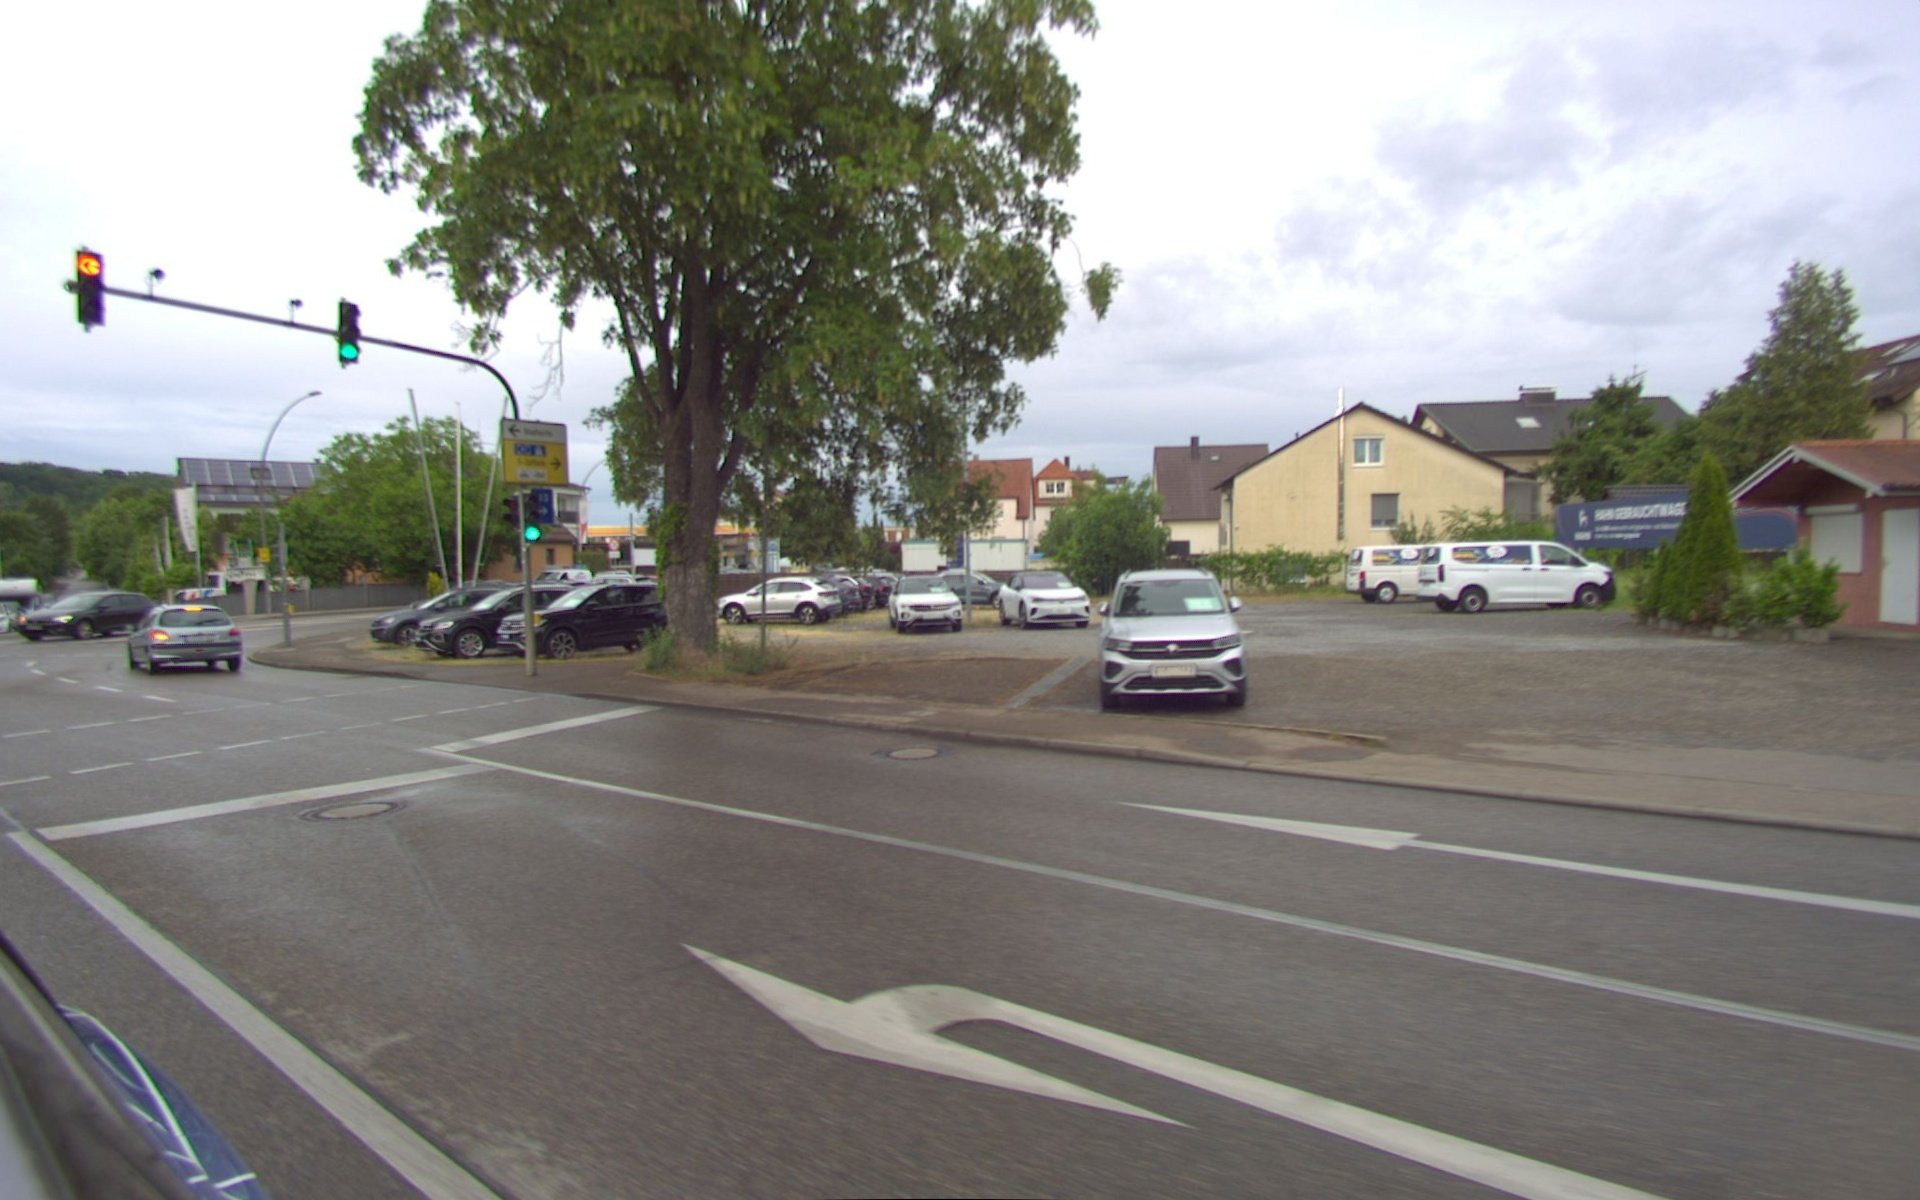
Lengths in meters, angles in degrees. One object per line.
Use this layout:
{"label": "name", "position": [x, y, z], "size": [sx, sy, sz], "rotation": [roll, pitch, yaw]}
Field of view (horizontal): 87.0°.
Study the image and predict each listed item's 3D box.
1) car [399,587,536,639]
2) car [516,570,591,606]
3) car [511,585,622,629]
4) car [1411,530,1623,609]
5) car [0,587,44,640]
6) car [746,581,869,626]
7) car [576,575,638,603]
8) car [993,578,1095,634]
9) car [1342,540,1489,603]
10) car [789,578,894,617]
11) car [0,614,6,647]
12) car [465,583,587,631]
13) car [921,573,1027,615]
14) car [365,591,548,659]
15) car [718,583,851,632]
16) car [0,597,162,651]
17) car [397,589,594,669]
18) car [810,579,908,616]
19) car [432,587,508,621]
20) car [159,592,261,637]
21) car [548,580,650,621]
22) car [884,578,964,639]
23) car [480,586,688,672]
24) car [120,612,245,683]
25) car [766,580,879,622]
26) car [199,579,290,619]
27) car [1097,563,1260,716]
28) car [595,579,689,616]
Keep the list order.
{"label": "car", "position": [-16.305, 0.414, 33.617], "size": [3.720, 1.562, 1.594], "rotation": [-2, 1, -2]}
{"label": "car", "position": [-25.996, -0.771, 64.944], "size": [2.030, 2.102, 5.241], "rotation": [-2, 0, 9]}
{"label": "car", "position": [-15.459, 0.252, 39.848], "size": [3.722, 1.562, 1.593], "rotation": [-2, 1, 0]}
{"label": "car", "position": [15.628, -0.855, 28.640], "size": [4.812, 2.002, 1.958], "rotation": [-2, 1, 6]}
{"label": "car", "position": [-55.337, 0.725, 59.191], "size": [2.537, 2.794, 6.136], "rotation": [-1, 3, -42]}
{"label": "car", "position": [-5.462, 0.120, 36.405], "size": [3.997, 1.462, 1.786], "rotation": [-2, 1, 9]}
{"label": "car", "position": [-24.898, -0.761, 71.636], "size": [2.030, 1.877, 4.908], "rotation": [-2, 0, 9]}
{"label": "car", "position": [2.300, 0.123, 28.896], "size": [1.800, 1.425, 4.019], "rotation": [-2, 1, -12]}
{"label": "car", "position": [15.685, -0.963, 35.027], "size": [4.219, 2.002, 1.722], "rotation": [-2, 1, 5]}
{"label": "car", "position": [-4.874, -0.104, 41.953], "size": [3.997, 1.462, 1.786], "rotation": [-2, 1, 9]}
{"label": "car", "position": [-44.596, 1.401, 45.910], "size": [4.002, 1.479, 1.745], "rotation": [-1, 1, 45]}
{"label": "car", "position": [-15.735, 0.236, 36.789], "size": [3.722, 1.562, 1.593], "rotation": [-2, 1, 0]}
{"label": "car", "position": [0.583, -0.253, 40.915], "size": [4.003, 1.566, 1.783], "rotation": [-2, 1, 13]}
{"label": "car", "position": [-13.257, 0.600, 26.729], "size": [4.091, 1.521, 1.677], "rotation": [-3, 2, -34]}
{"label": "car", "position": [-5.826, 0.246, 33.759], "size": [3.997, 1.462, 1.786], "rotation": [-2, 1, 9]}
{"label": "car", "position": [-28.038, 0.710, 32.456], "size": [1.745, 1.438, 4.001], "rotation": [-1, 2, -1]}
{"label": "car", "position": [-10.559, 0.605, 23.159], "size": [3.714, 1.579, 1.674], "rotation": [-3, 1, -44]}
{"label": "car", "position": [-4.429, -0.119, 44.750], "size": [3.997, 1.462, 1.786], "rotation": [-2, 1, 9]}
{"label": "car", "position": [-23.374, 0.152, 48.422], "size": [1.746, 1.438, 4.001], "rotation": [1, 2, 0]}
{"label": "car", "position": [-38.440, 0.712, 51.901], "size": [4.337, 2.120, 1.765], "rotation": [1, 2, 11]}
{"label": "car", "position": [-15.228, 0.011, 42.847], "size": [3.722, 1.562, 1.593], "rotation": [-2, 1, 0]}
{"label": "car", "position": [-1.085, 0.180, 28.435], "size": [1.762, 1.521, 4.052], "rotation": [-2, 1, -9]}
{"label": "car", "position": [-8.043, 0.561, 21.893], "size": [1.672, 1.579, 3.842], "rotation": [-1, 1, 43]}
{"label": "car", "position": [-17.197, 0.989, 22.320], "size": [3.703, 1.391, 1.627], "rotation": [-1, 0, 44]}
{"label": "car", "position": [-5.291, 0.015, 39.218], "size": [3.997, 1.462, 1.786], "rotation": [-2, 1, 9]}
{"label": "car", "position": [-40.539, -0.089, 57.359], "size": [4.175, 2.120, 1.766], "rotation": [1, 2, 9]}
{"label": "car", "position": [2.770, 0.380, 13.231], "size": [1.702, 1.581, 3.996], "rotation": [-3, 2, 10]}
{"label": "car", "position": [-14.374, -0.128, 45.825], "size": [3.722, 1.562, 1.593], "rotation": [-2, 1, 0]}
